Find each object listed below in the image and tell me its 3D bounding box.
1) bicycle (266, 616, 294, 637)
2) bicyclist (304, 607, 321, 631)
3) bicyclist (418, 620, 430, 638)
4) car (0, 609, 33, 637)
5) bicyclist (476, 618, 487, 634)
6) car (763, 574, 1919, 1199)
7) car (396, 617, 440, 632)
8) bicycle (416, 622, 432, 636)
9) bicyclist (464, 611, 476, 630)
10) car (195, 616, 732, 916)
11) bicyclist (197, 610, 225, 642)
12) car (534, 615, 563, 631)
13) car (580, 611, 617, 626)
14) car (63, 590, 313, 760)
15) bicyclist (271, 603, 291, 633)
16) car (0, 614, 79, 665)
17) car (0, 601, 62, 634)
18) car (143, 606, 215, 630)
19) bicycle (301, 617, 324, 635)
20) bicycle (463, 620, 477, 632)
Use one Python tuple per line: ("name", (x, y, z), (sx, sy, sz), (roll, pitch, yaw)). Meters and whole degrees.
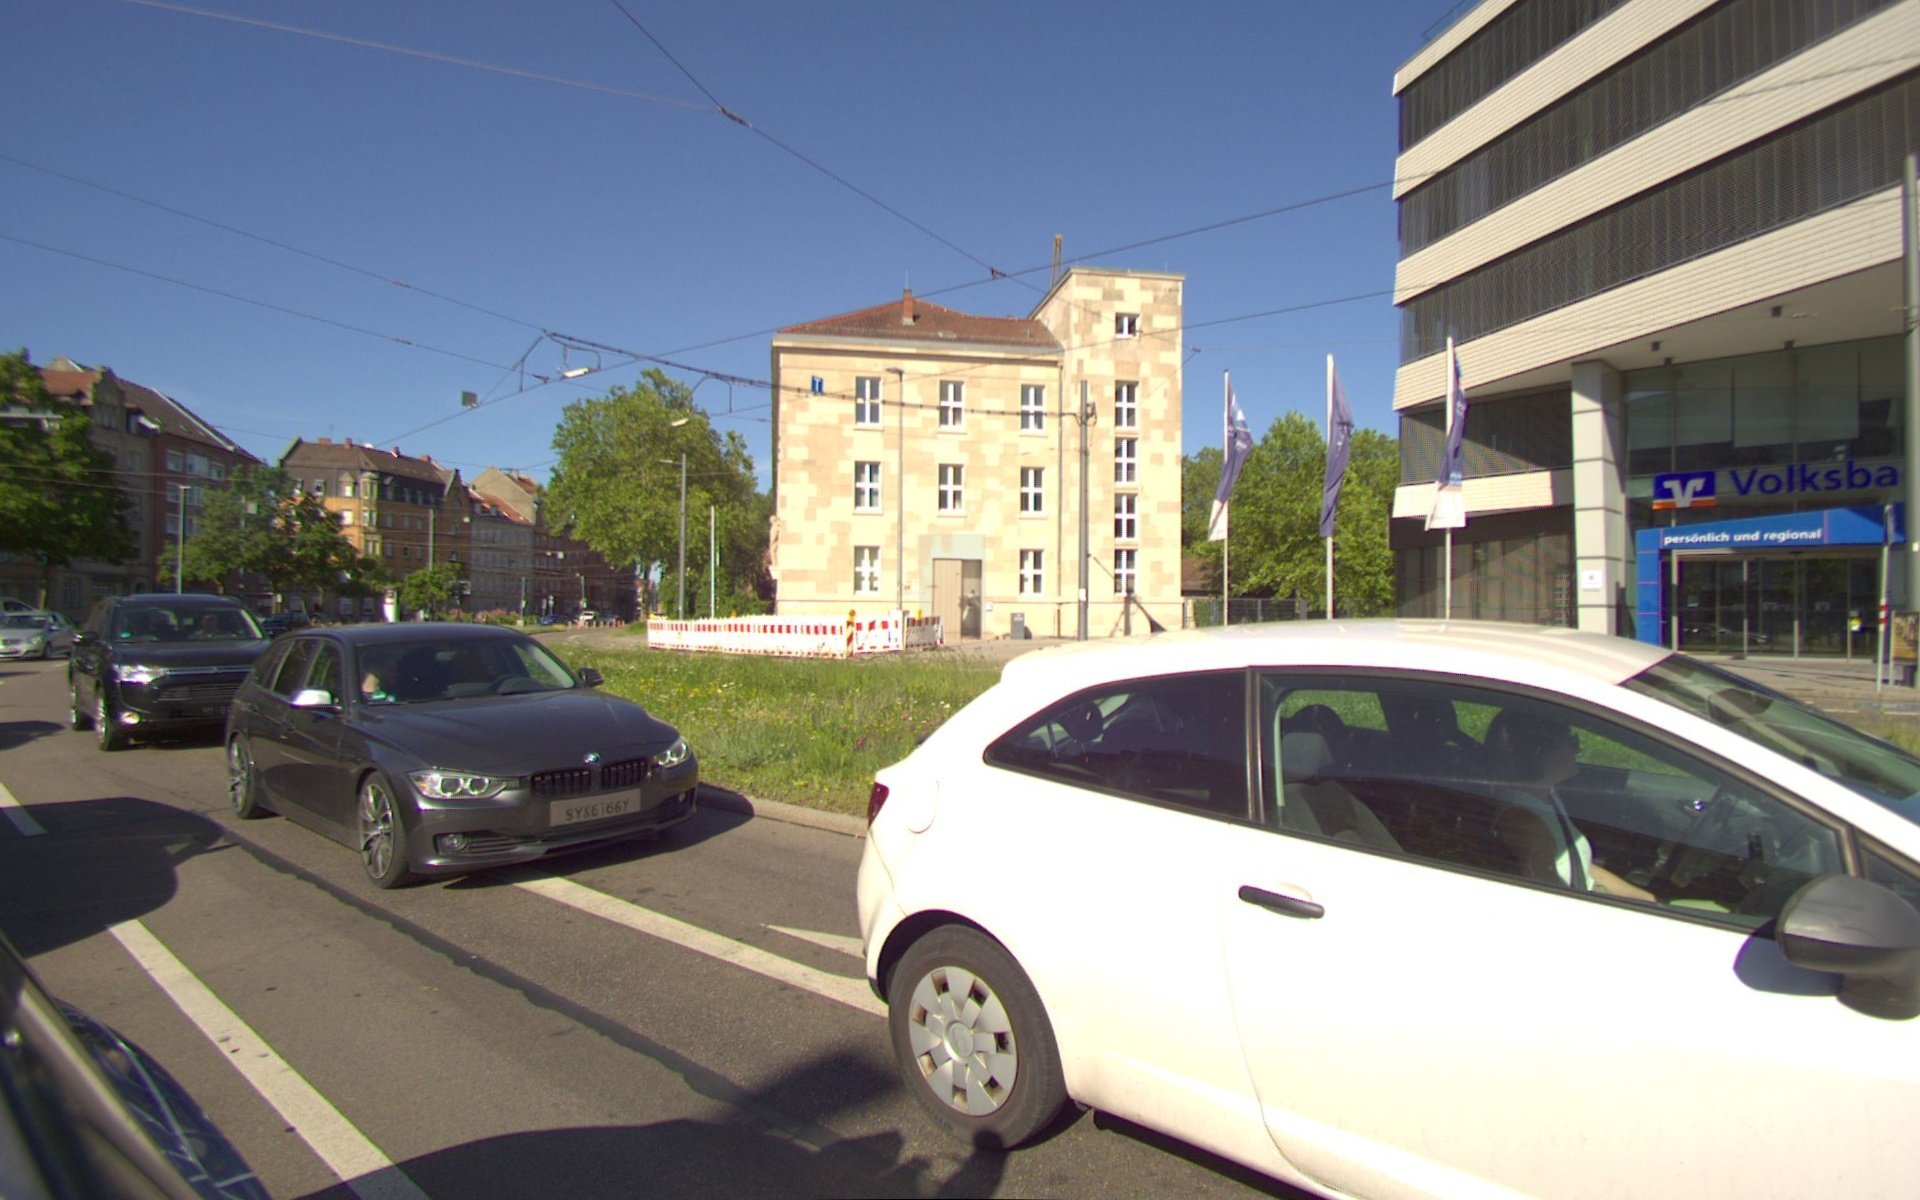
("bicycle", (-43.334, 1.664, 64.520), (0.746, 1.310, 2.160), (1, -1, -13))
("bicyclist", (-43.775, 1.270, 68.422), (0.621, 1.641, 0.974), (0, -1, -13))
("bicyclist", (-47.770, 2.565, 90.206), (0.658, 1.641, 0.973), (0, -1, -10))
("car", (-48.760, 1.146, 50.398), (3.768, 1.390, 1.602), (2, -2, -41))
("bicyclist", (-49.534, 2.682, 104.671), (0.724, 1.707, 0.972), (0, -1, -6))
("car", (1.484, 0.692, 2.490), (4.020, 1.452, 1.714), (0, 2, 40))
("car", (-61.406, 2.777, 114.672), (4.002, 1.669, 1.771), (1, -1, -13))
("bicycle", (-47.776, 2.589, 90.249), (0.658, 1.206, 2.159), (0, -1, -10))
("bicyclist", (-50.886, 2.125, 105.091), (0.835, 2.029, 1.199), (0, -1, -12))
("car", (-3.595, 0.825, 6.890), (4.424, 1.377, 1.719), (-1, 0, 41))
("bicyclist", (-41.481, 1.464, 56.041), (0.706, 1.739, 1.095), (1, -3, -4))
("car", (-51.115, 2.884, 125.796), (1.815, 1.896, 4.348), (1, -1, 0))
("car", (-42.673, 2.173, 119.422), (4.001, 1.669, 1.772), (1, -1, -16))
("car", (-9.377, 0.770, 12.141), (1.817, 1.658, 4.400), (-1, -1, -45))
("bicyclist", (-43.357, 1.125, 64.637), (0.797, 1.880, 0.751), (1, 0, -12))
("car", (-30.945, 1.277, 33.510), (1.809, 1.563, 4.161), (2, -1, -29))
("car", (-49.925, 0.886, 52.805), (4.514, 1.680, 1.601), (2, -2, -43))
("car", (-53.925, 1.267, 69.887), (3.771, 1.603, 1.601), (2, -2, -44))
("bicycle", (-43.786, 1.733, 68.443), (0.627, 1.206, 2.159), (0, -1, -12))
("bicycle", (-50.897, 2.697, 105.087), (0.752, 1.153, 2.288), (0, -1, -12))
